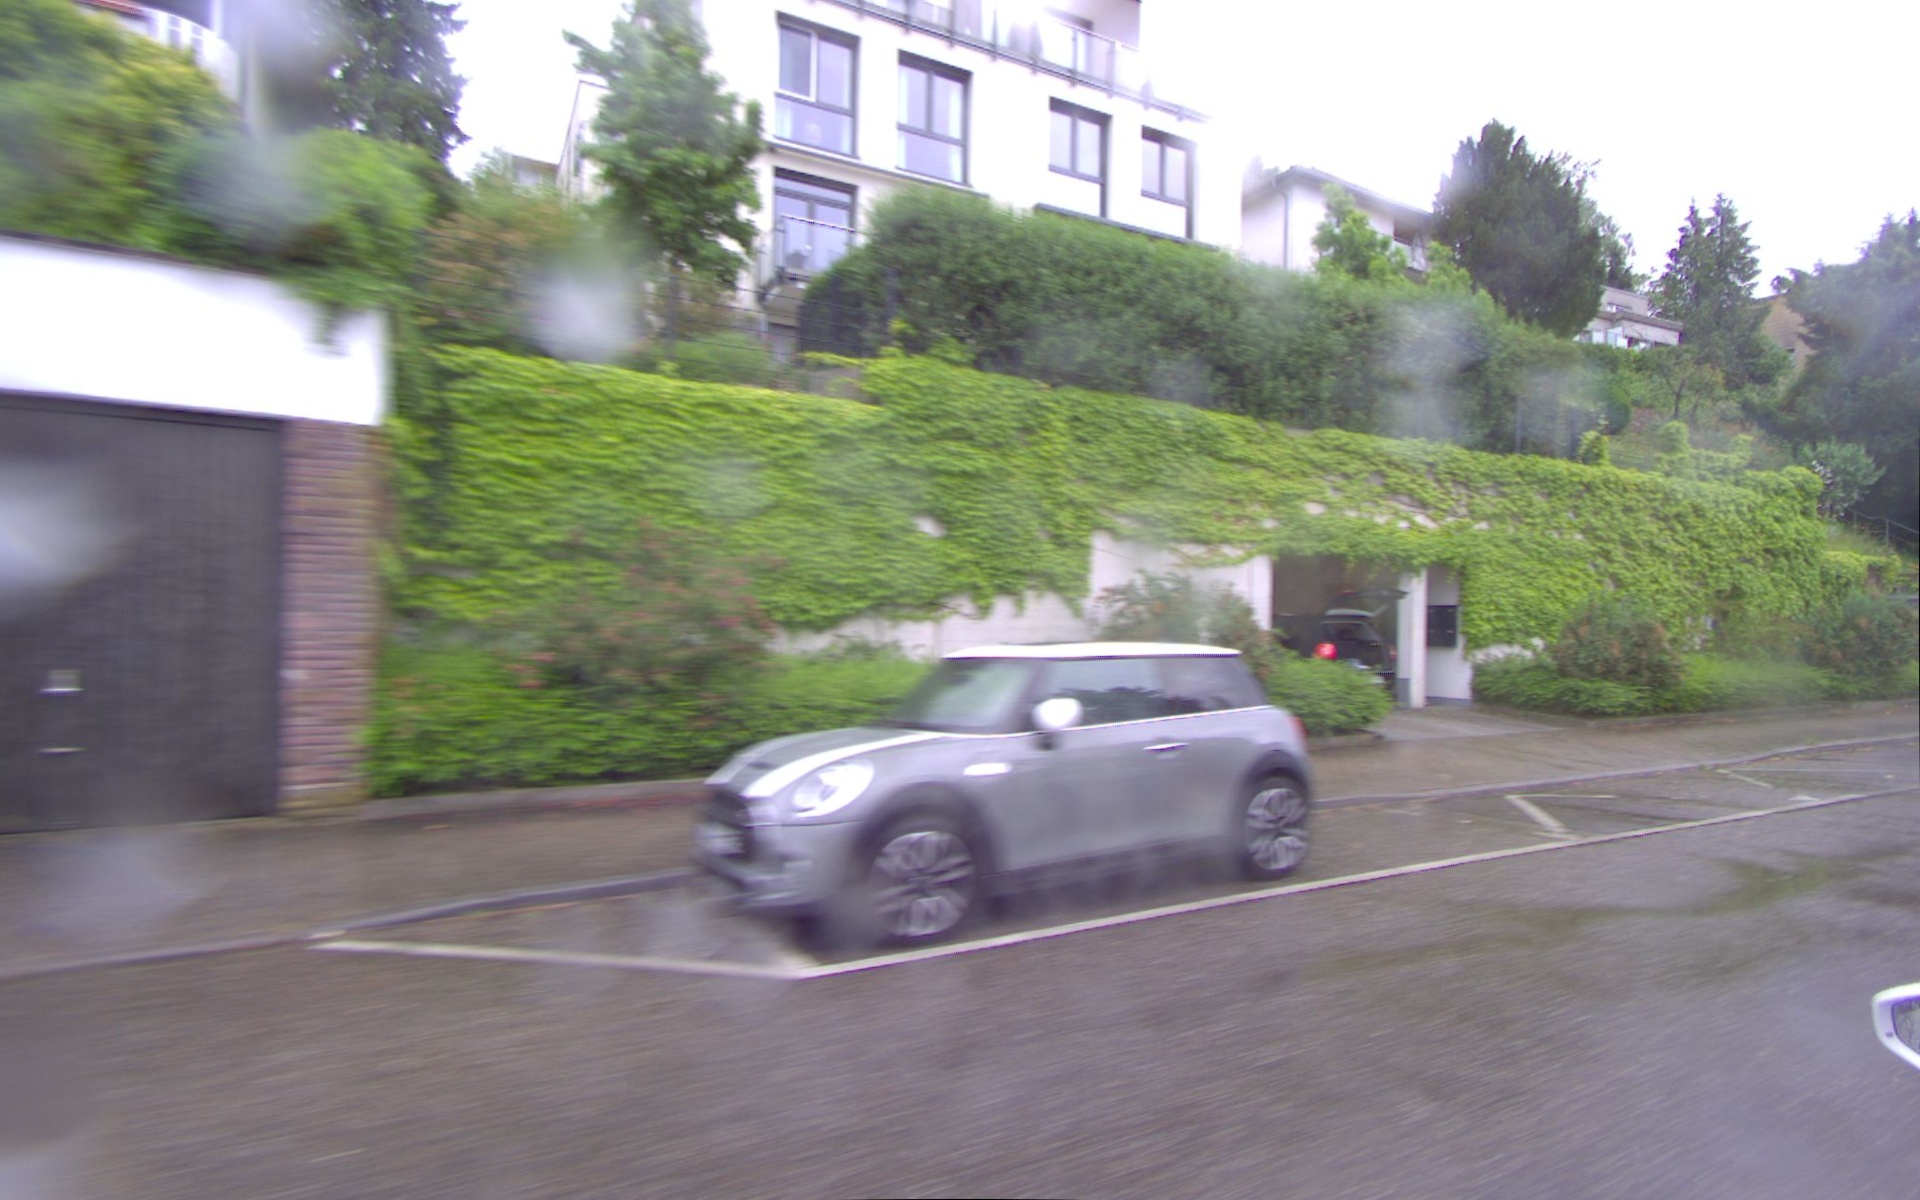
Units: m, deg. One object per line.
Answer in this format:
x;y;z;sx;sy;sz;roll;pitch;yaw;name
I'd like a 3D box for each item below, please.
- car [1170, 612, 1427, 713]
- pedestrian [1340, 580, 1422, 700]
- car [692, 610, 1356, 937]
5.291;0.931;16.171;1.841;1.402;3.745;1;-2;-26;car
6.931;0.647;16.538;0.890;1.905;0.839;2;0;-27;pedestrian
0.456;0.842;6.131;3.727;1.420;1.747;1;-4;-32;car
